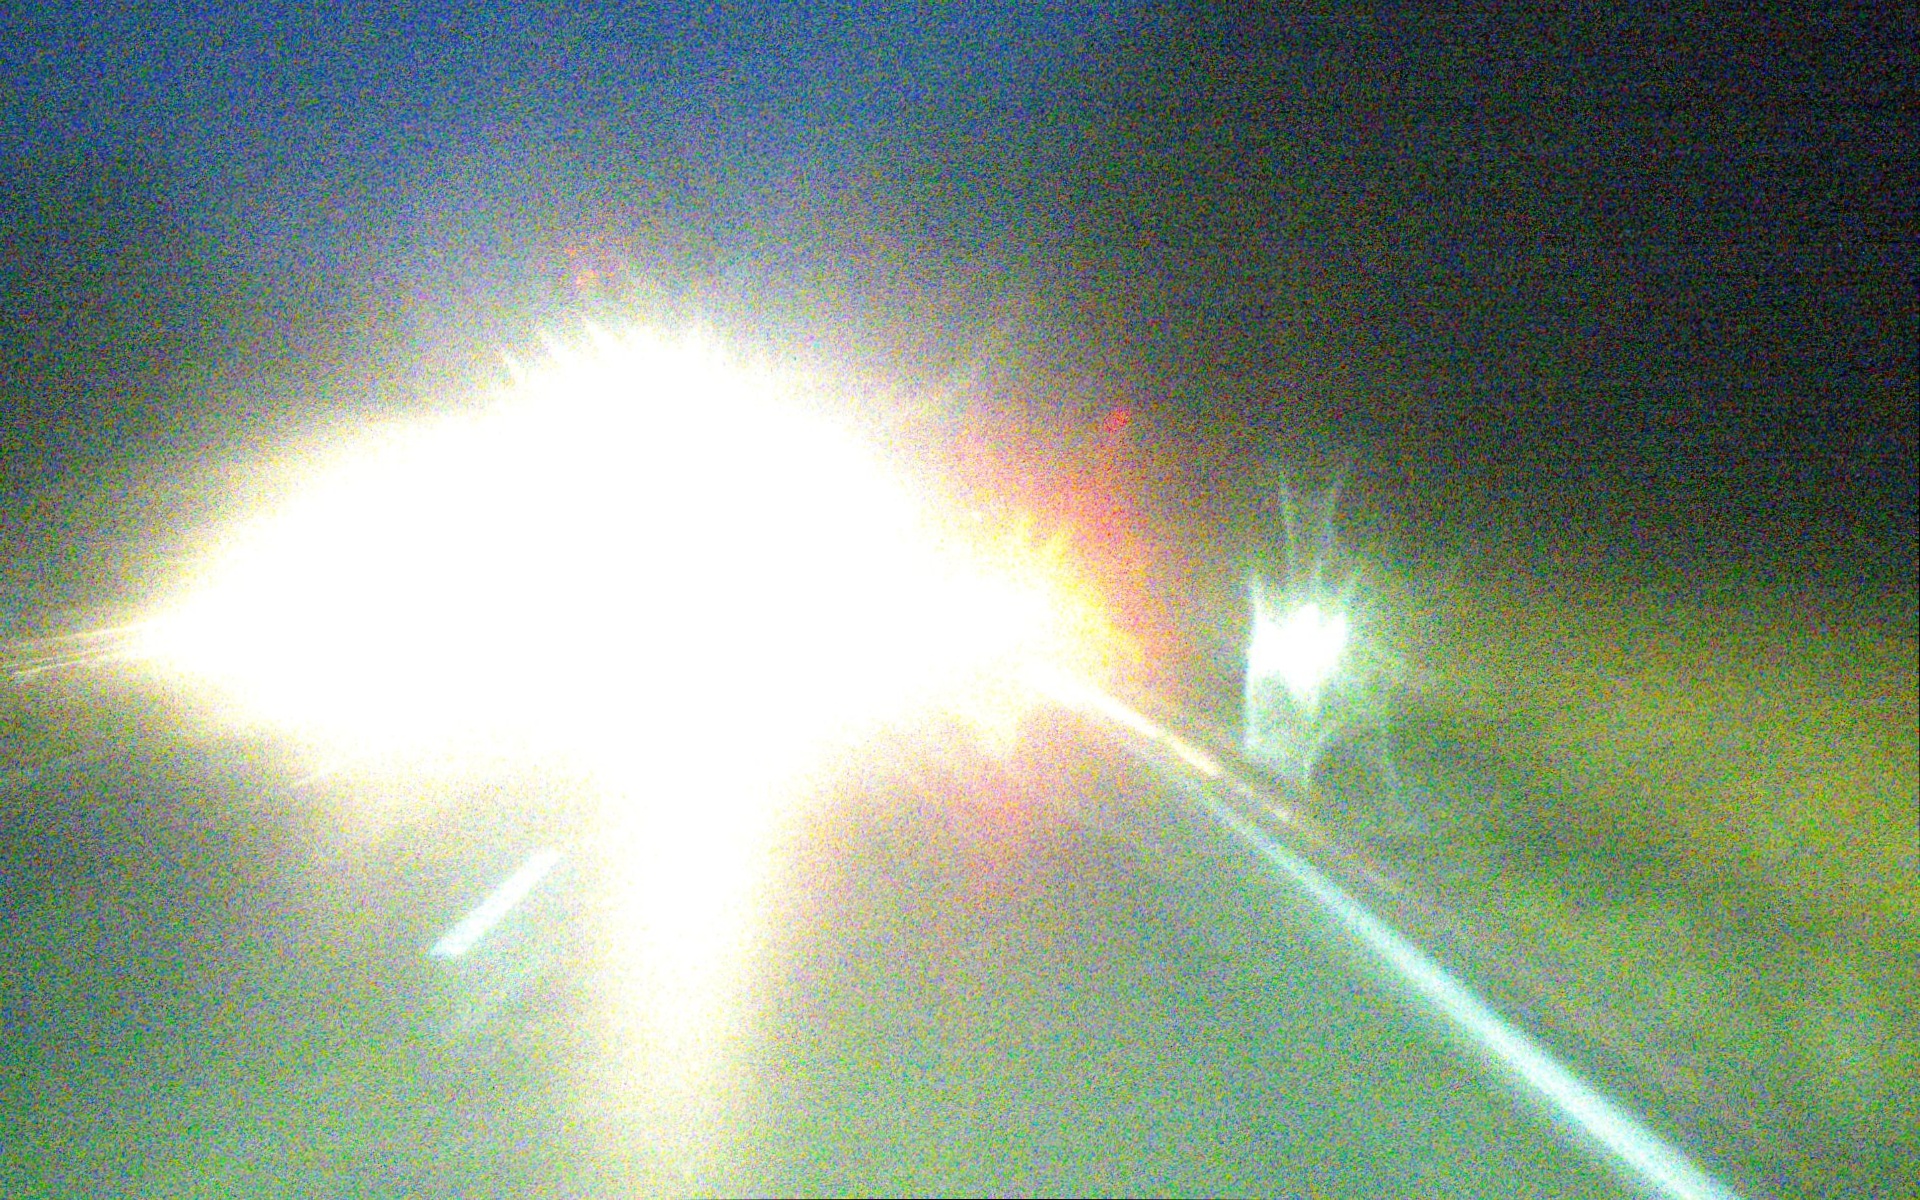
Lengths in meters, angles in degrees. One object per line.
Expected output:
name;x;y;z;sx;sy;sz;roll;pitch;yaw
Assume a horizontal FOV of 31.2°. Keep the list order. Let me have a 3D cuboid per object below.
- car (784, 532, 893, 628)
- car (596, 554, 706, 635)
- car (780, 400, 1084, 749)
car;-1.980;-0.325;56.750;1.707;1.499;3.606;1;0;-1
car;-5.899;-0.109;65.939;1.843;1.499;3.710;1;0;-2
car;-0.254;-0.291;28.542;2.181;2.548;4.508;3;2;-1
